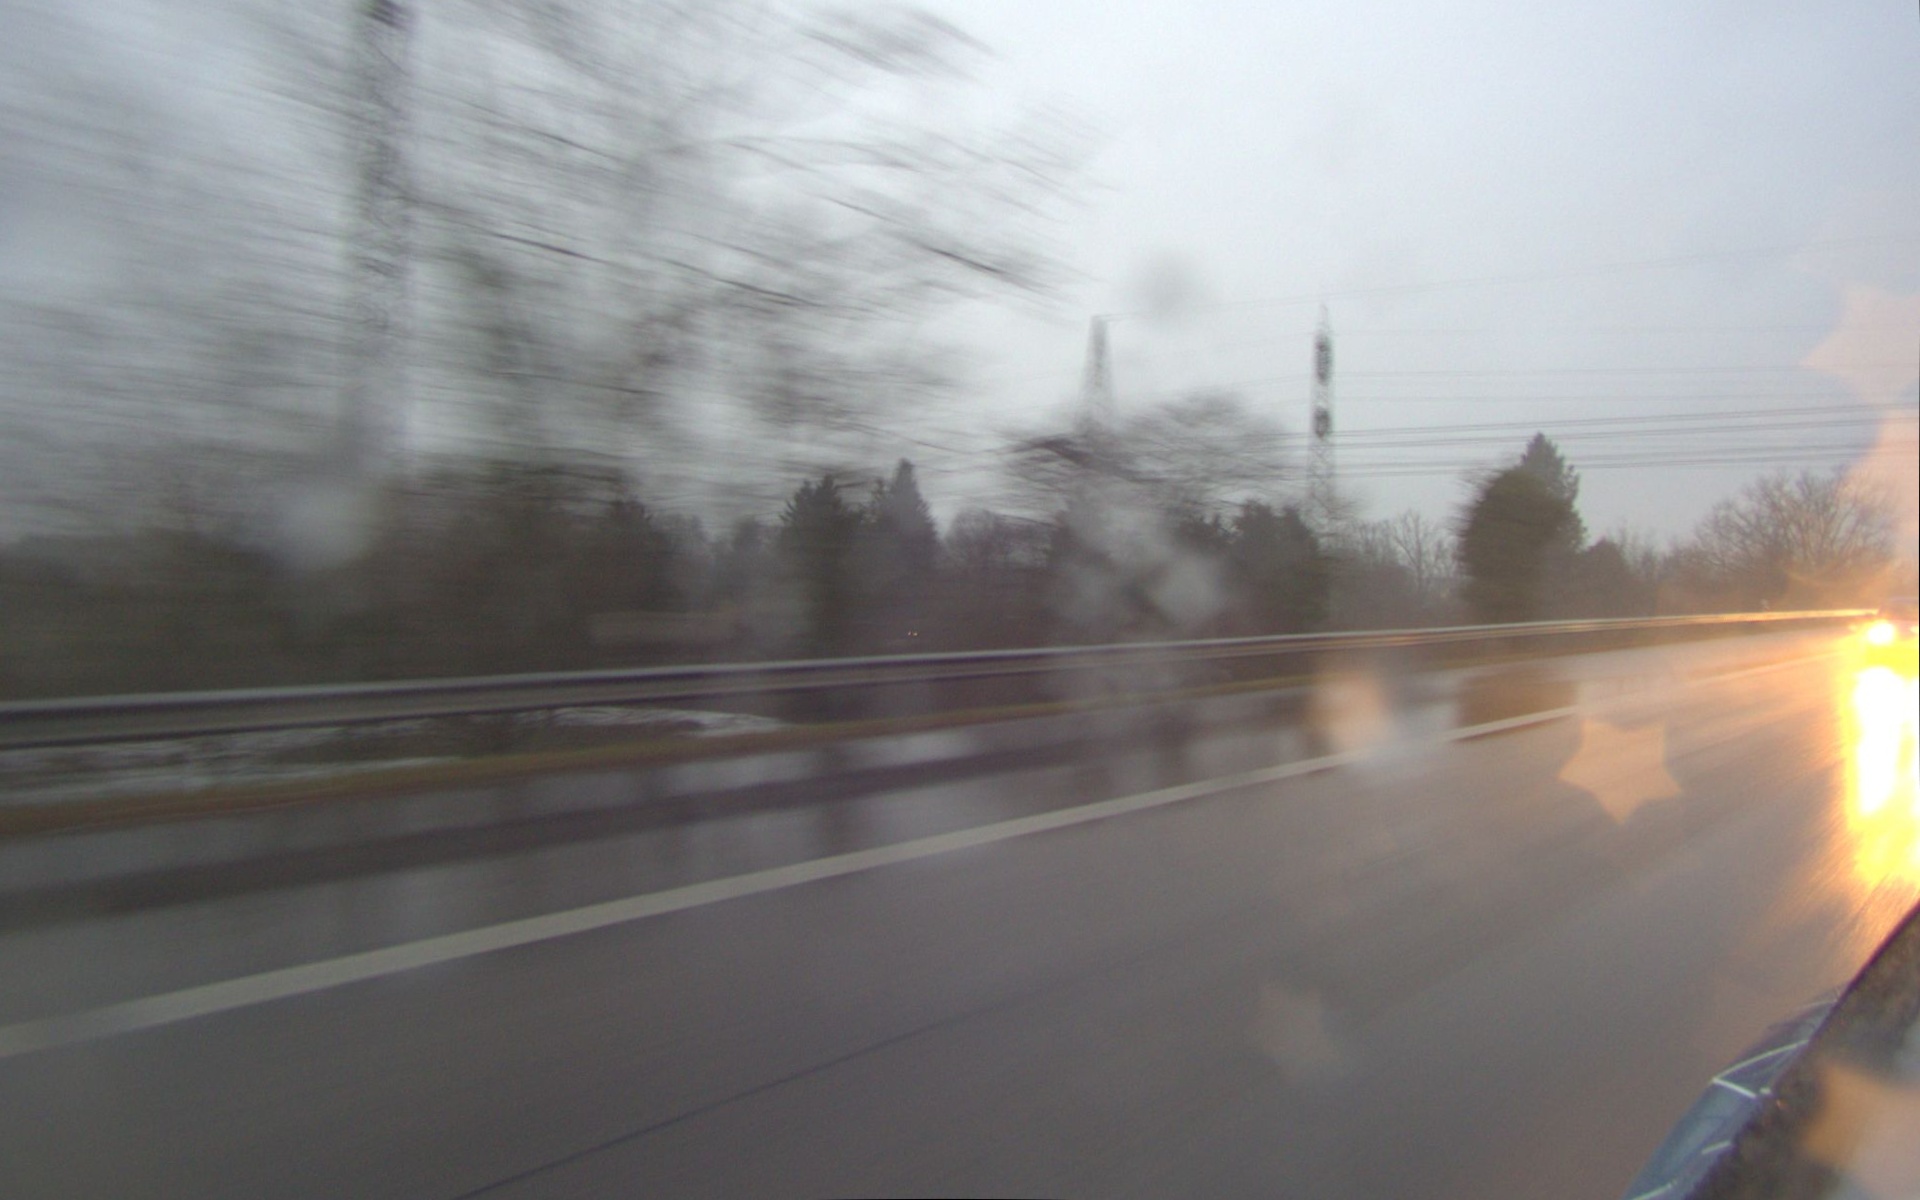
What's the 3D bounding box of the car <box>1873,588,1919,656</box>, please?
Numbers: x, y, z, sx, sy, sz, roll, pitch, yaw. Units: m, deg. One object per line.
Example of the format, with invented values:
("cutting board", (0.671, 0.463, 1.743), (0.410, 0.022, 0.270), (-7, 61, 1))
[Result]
("car", (22.678, 0.488, 23.565), (3.930, 1.492, 1.631), (0, 2, -41))
